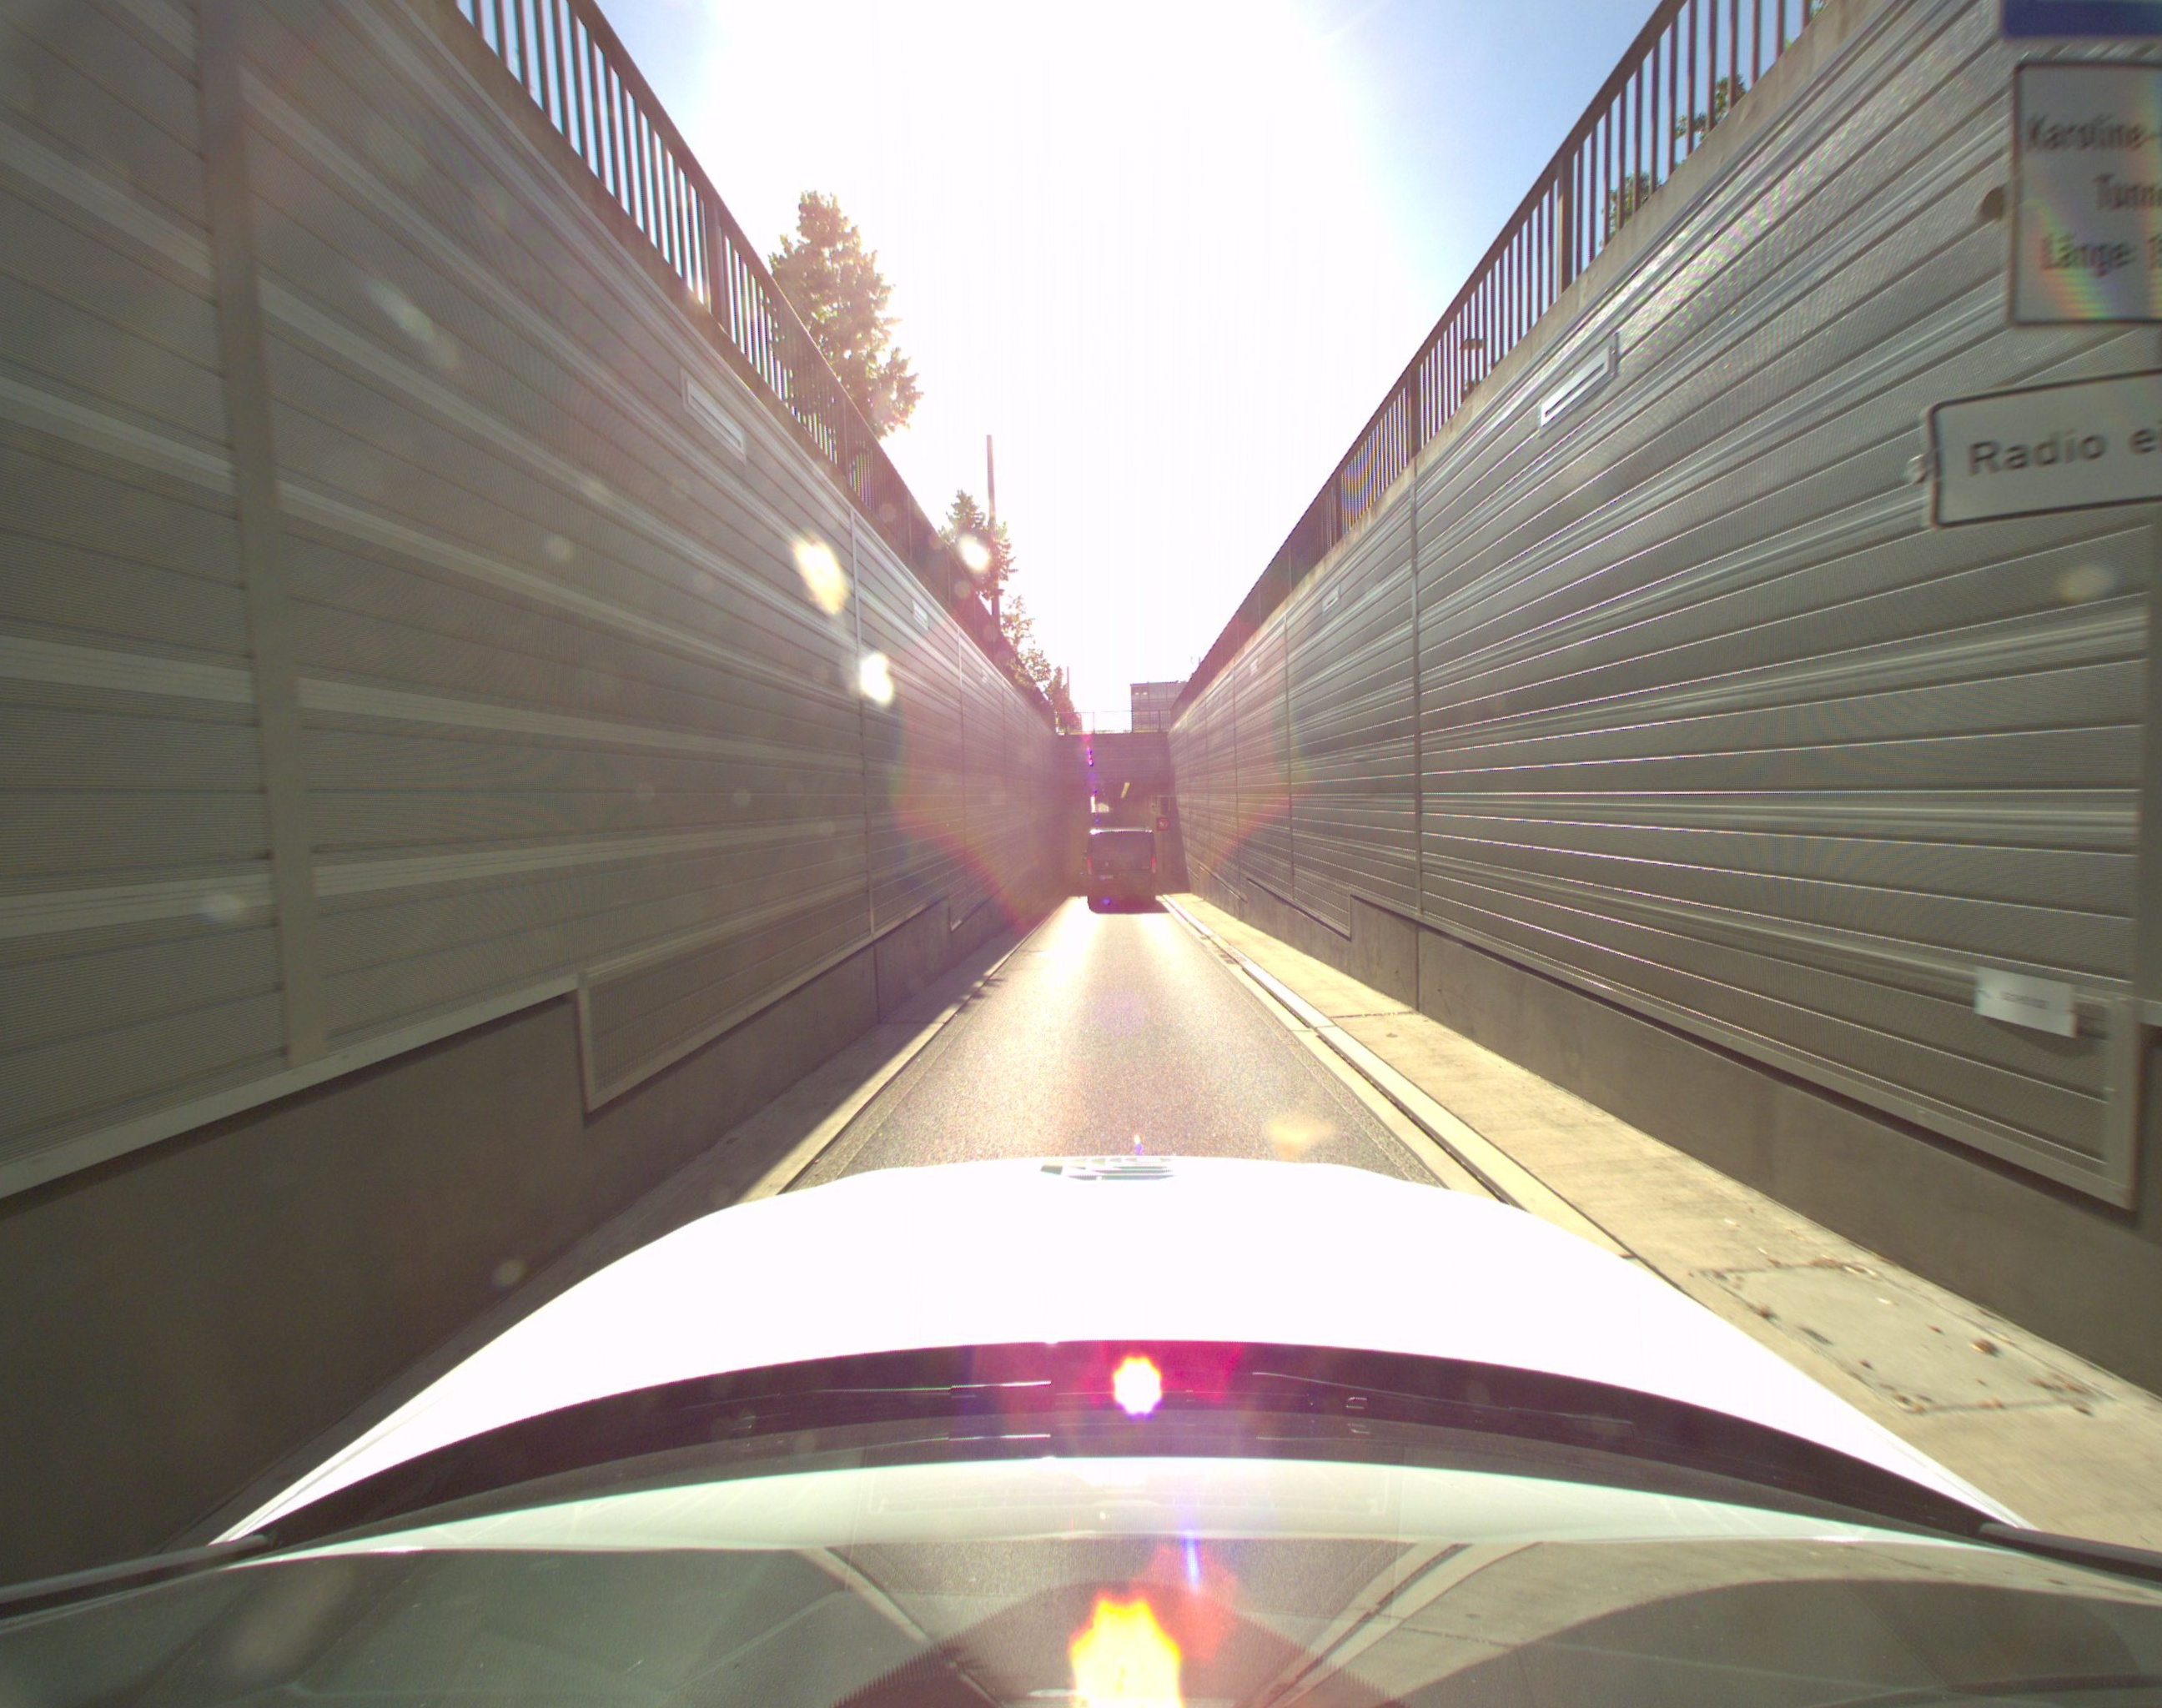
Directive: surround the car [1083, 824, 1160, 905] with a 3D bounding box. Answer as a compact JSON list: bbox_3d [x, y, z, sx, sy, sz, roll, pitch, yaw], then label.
[{"bbox_3d":[1.244,0.286,25.391,2.150,2.266,4.640,-1,0,2],"label":"car"}]
